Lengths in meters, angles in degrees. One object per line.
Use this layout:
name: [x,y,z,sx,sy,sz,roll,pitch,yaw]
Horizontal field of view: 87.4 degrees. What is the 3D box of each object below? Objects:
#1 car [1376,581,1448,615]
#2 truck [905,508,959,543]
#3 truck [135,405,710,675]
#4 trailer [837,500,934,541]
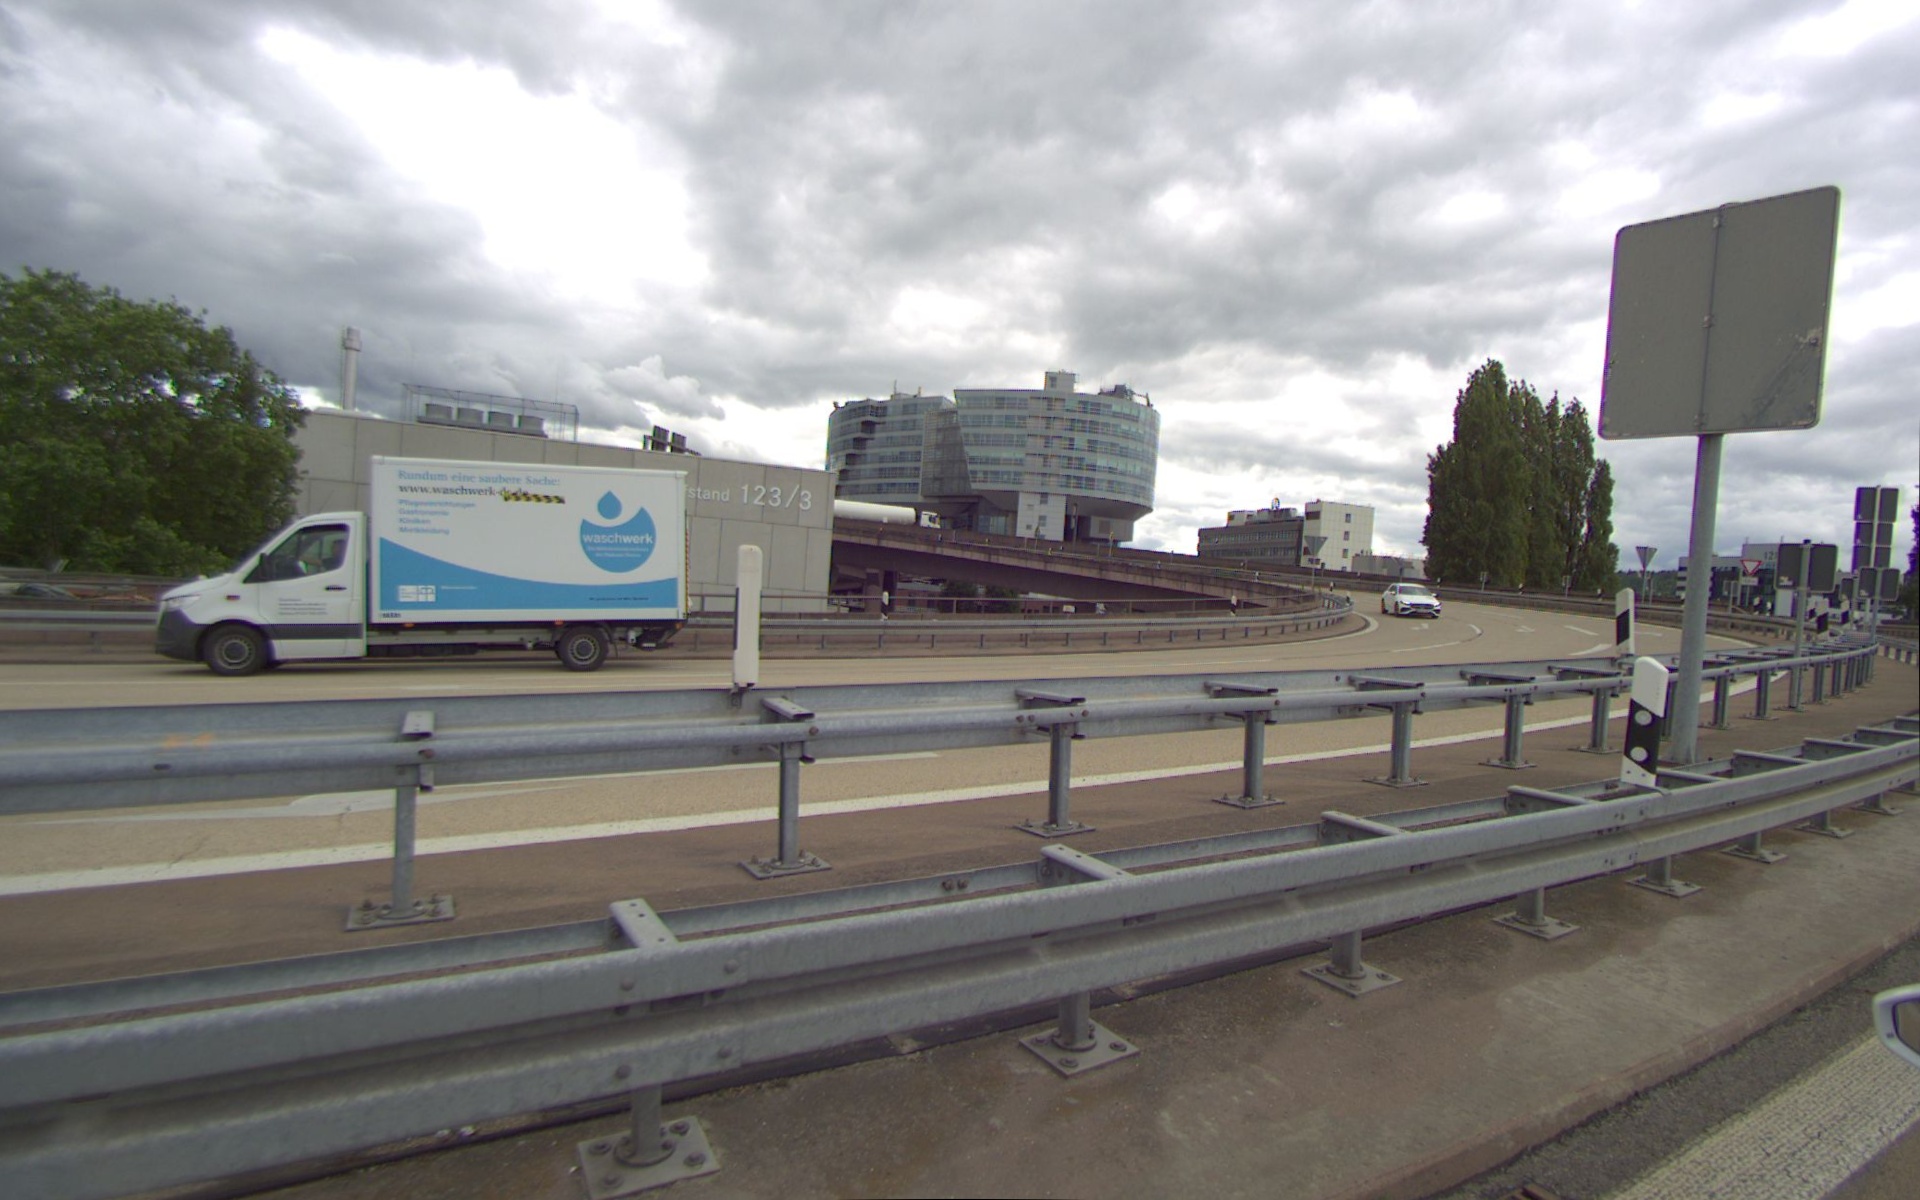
car: [20.624,-0.109,46.028,1.878,1.433,4.367,1,1,9]
truck: [-3.280,-8.731,118.554,5.847,3.475,2.779,5,1,2]
truck: [-7.445,-0.611,14.883,6.902,3.306,2.338,2,-2,-26]
trailer: [-8.765,-9.379,118.763,10.935,3.786,2.802,5,1,2]
